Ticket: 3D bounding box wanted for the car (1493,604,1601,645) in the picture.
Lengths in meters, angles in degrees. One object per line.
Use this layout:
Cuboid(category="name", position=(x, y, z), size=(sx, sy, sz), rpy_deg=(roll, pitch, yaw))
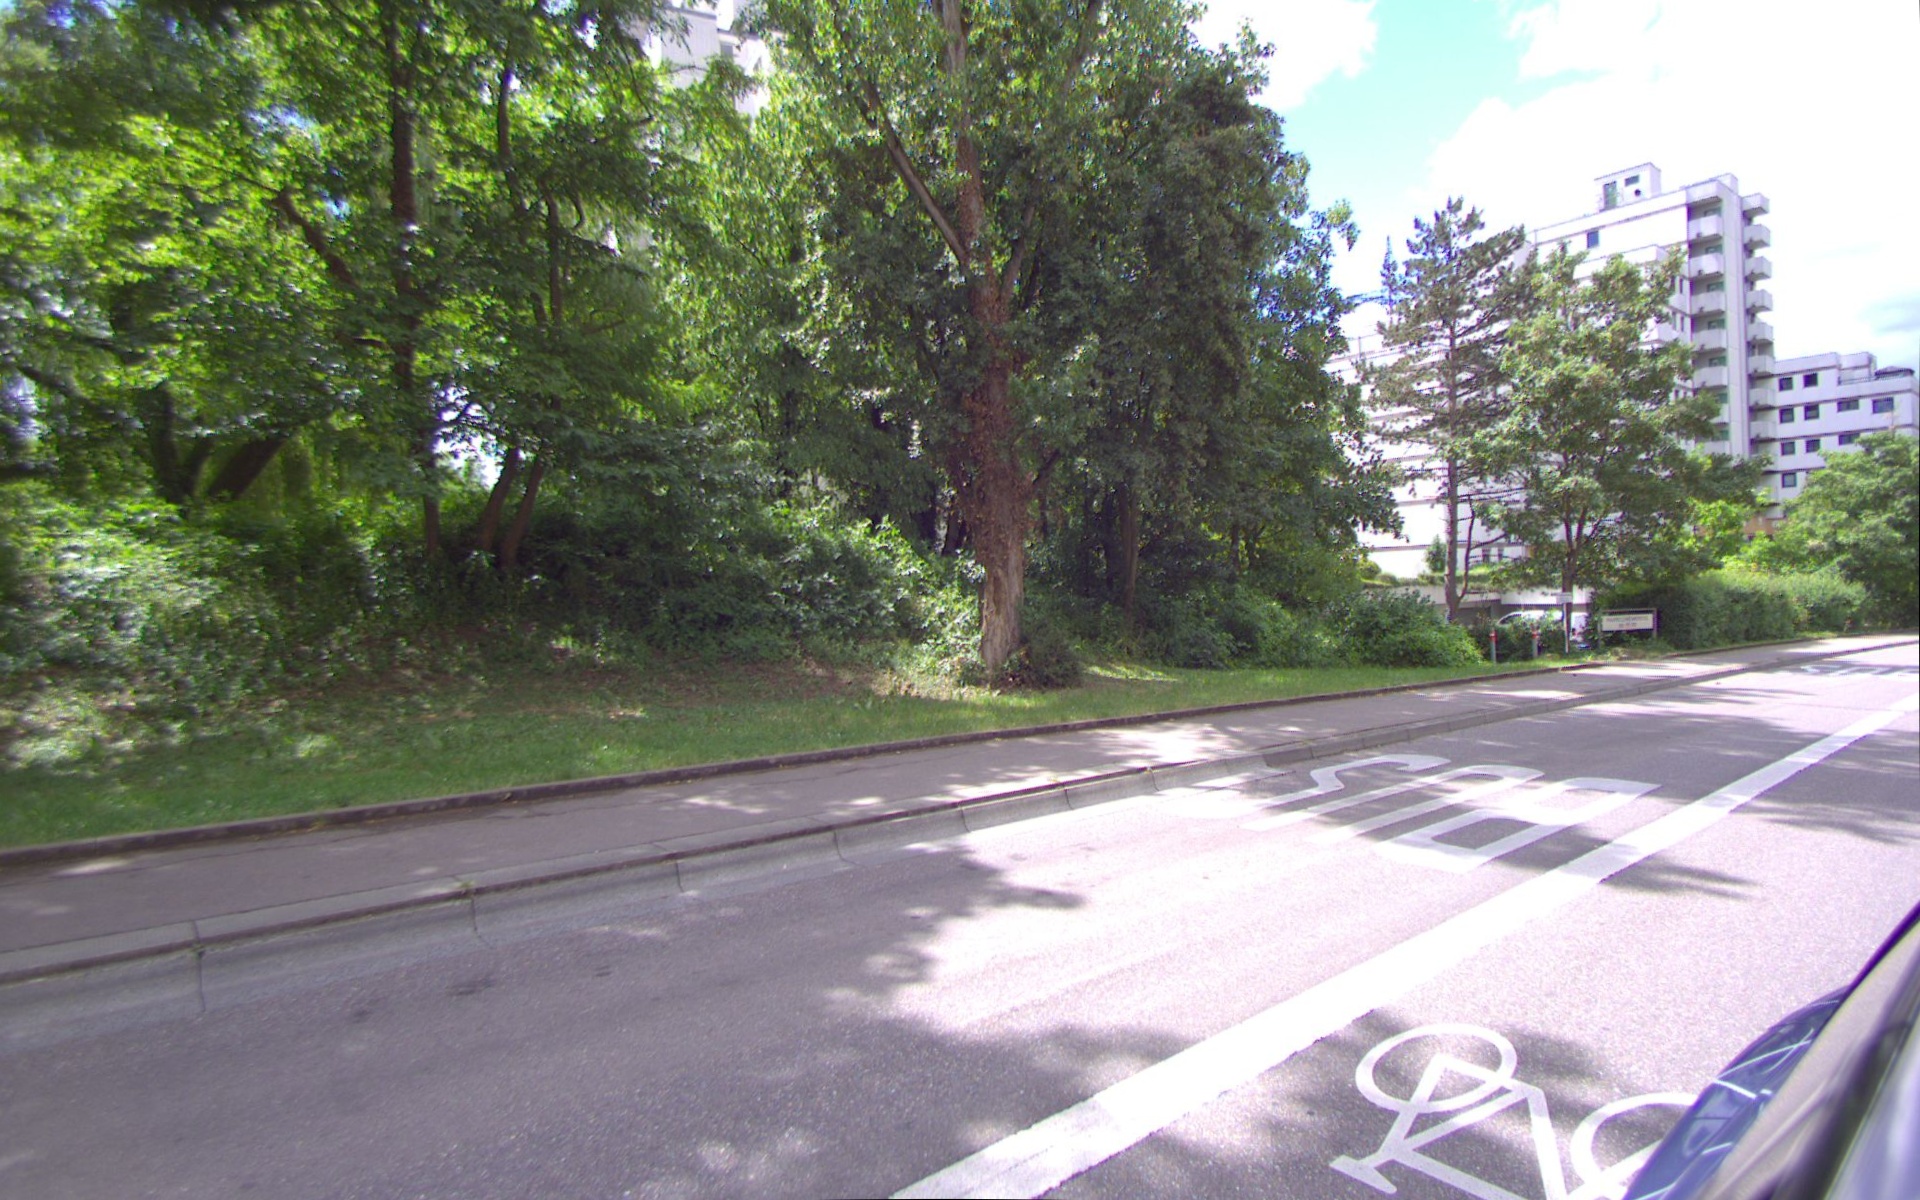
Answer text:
Cuboid(category="car", position=(31.044, 1.229, 53.630), size=(1.962, 2.039, 4.549), rpy_deg=(-1, 0, -34))
